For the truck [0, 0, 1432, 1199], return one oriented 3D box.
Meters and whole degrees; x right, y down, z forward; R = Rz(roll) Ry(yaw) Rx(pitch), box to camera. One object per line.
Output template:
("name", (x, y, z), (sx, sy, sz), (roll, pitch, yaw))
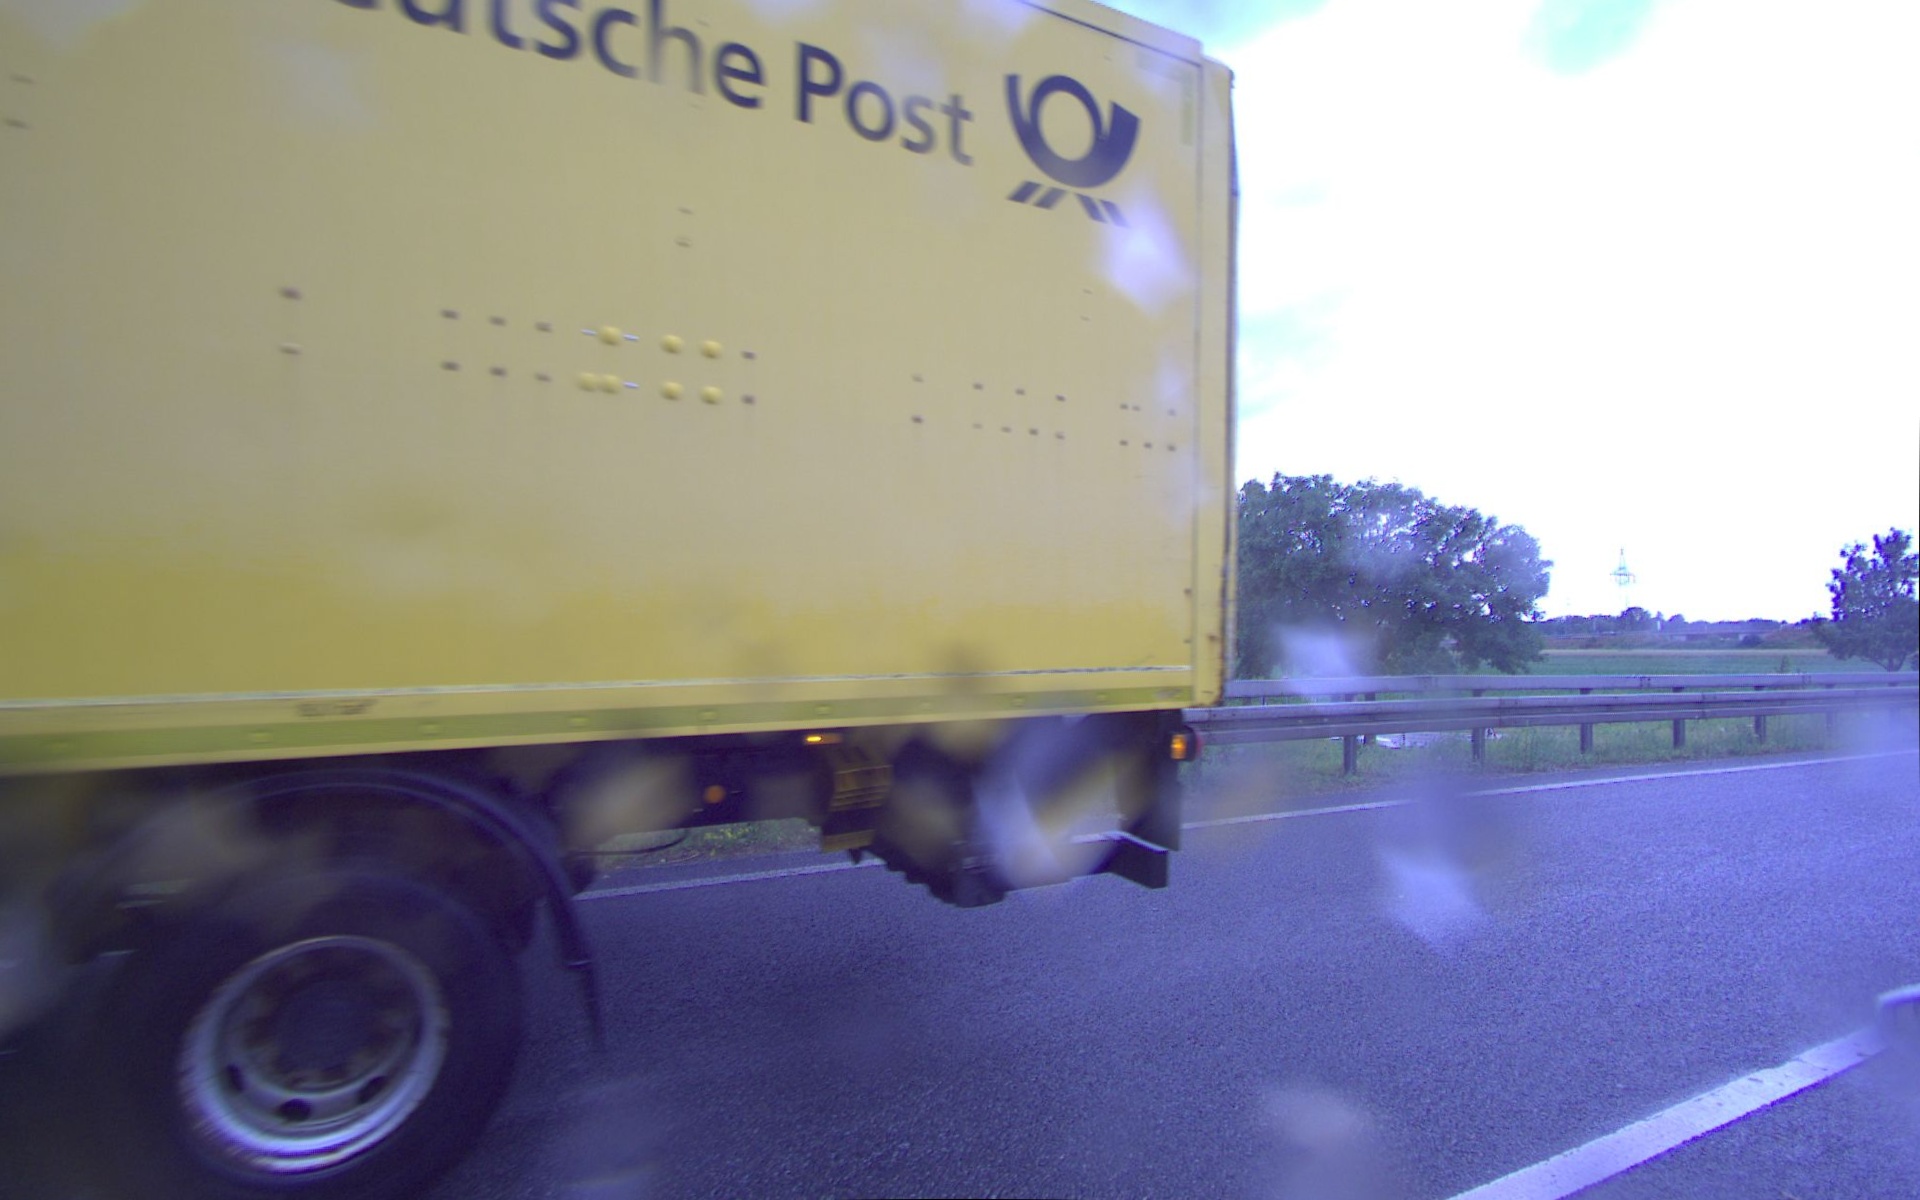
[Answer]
("truck", (-2.887, -0.361, 2.704), (9.076, 3.475, 2.758), (2, -1, -29))
